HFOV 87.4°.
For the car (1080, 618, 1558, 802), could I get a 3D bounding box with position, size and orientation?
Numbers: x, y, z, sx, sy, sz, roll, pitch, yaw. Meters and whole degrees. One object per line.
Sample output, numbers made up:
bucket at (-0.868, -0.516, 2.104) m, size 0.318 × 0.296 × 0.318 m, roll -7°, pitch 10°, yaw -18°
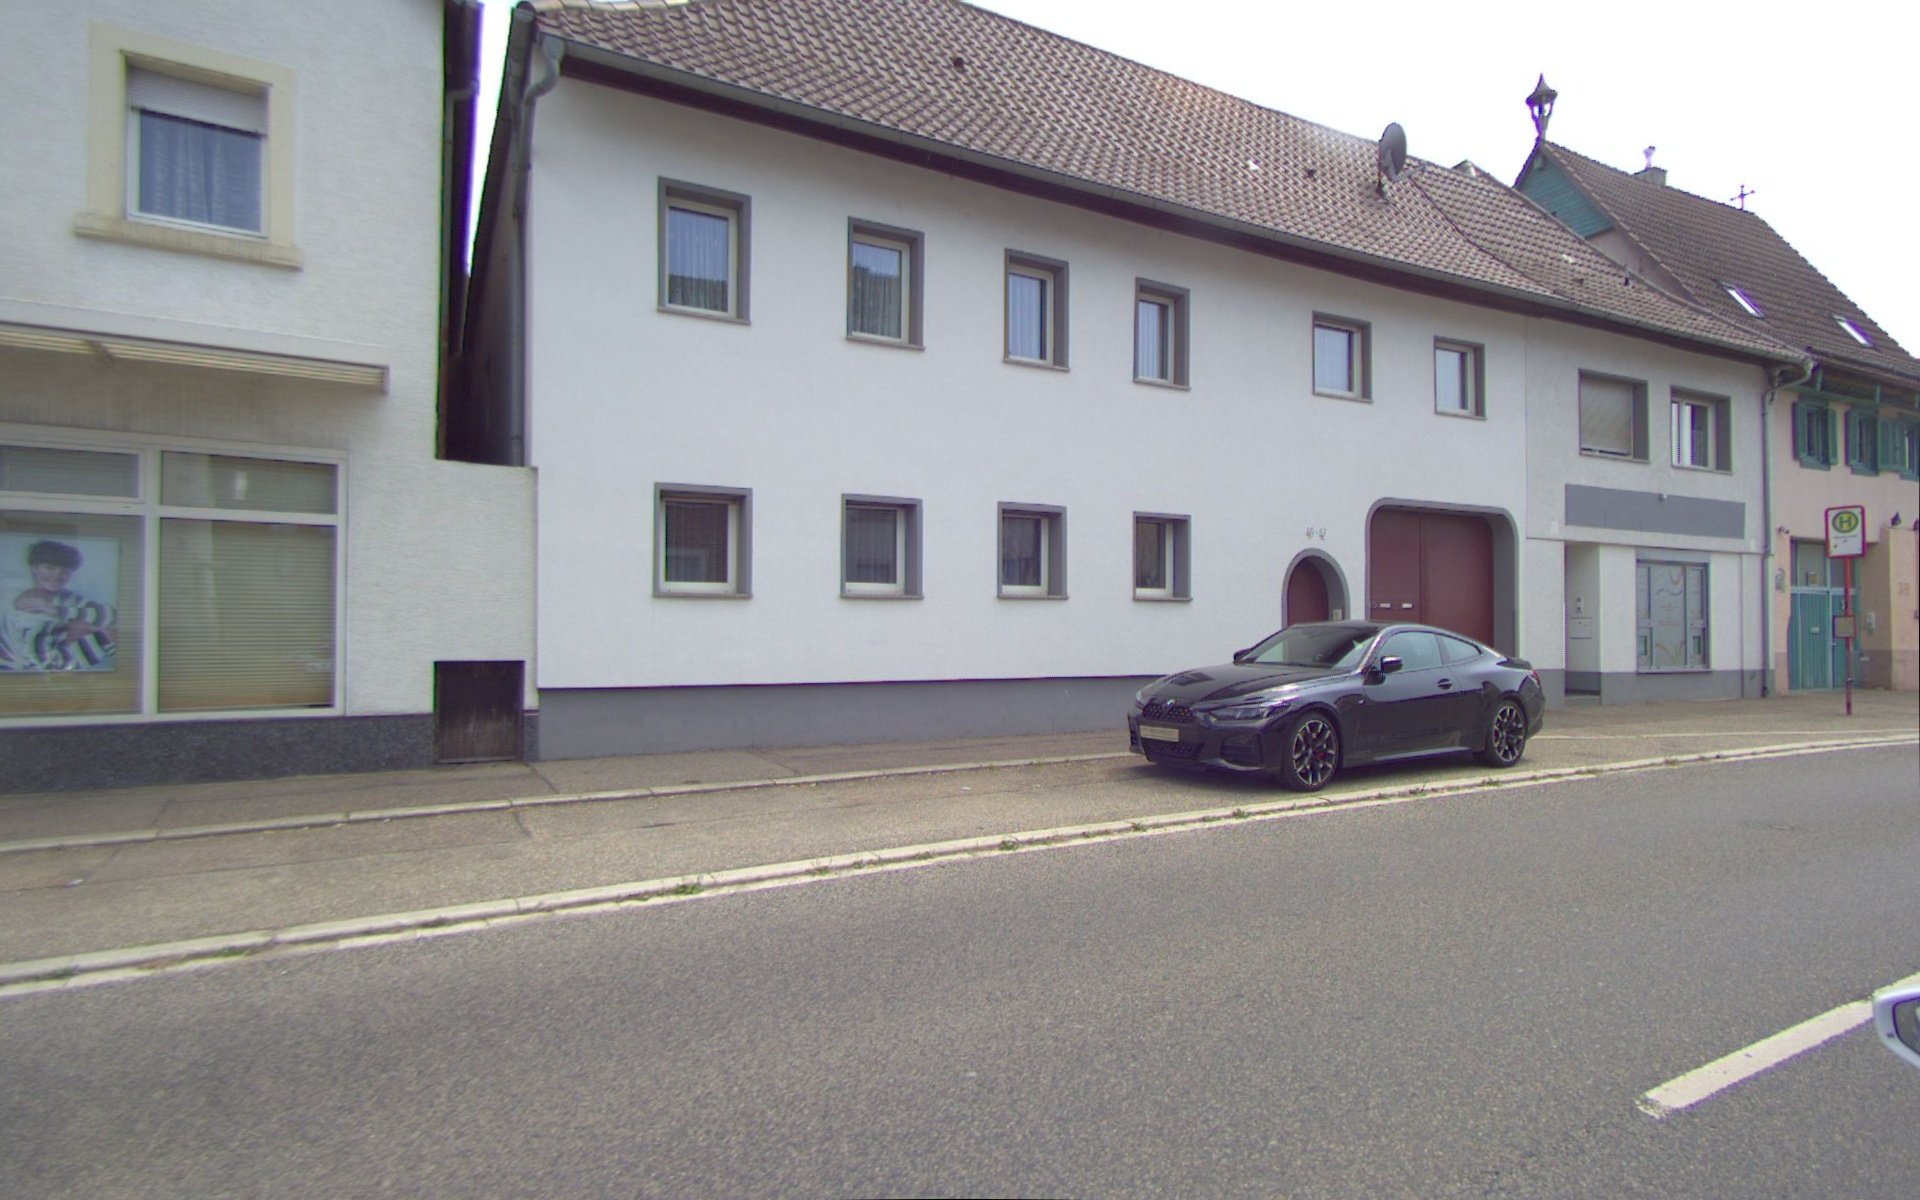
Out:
car at (3.553, 0.873, 9.637) m, size 4.701 × 1.367 × 1.756 m, roll 0°, pitch 0°, yaw -31°
